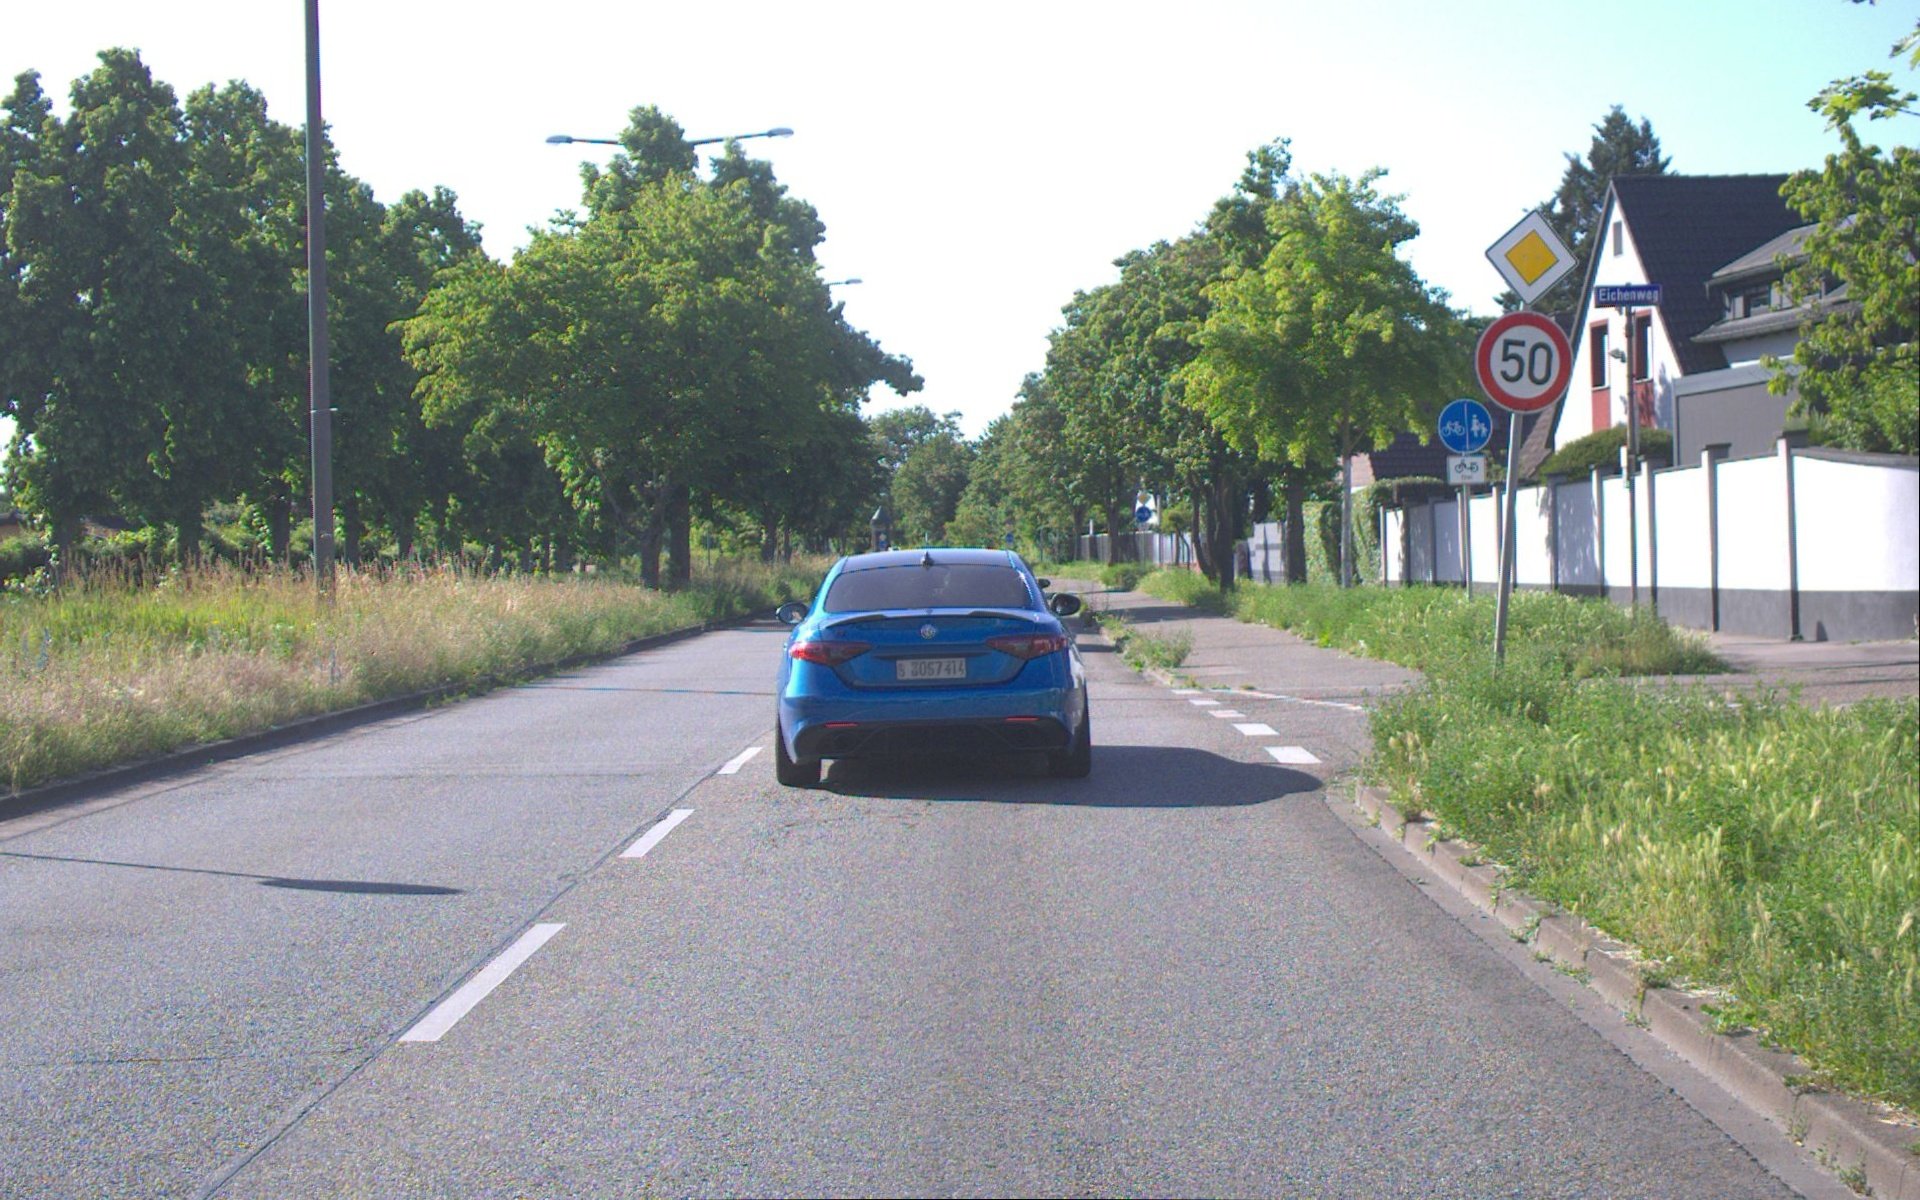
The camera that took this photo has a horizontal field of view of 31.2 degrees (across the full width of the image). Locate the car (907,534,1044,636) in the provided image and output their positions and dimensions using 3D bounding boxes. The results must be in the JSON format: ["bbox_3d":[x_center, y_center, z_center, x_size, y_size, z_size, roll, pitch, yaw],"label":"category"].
[{"bbox_3d":[0.208,-0.268,54.737,1.915,1.574,4.183,0,1,-4],"label":"car"}]

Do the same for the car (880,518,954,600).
[{"bbox_3d":[-1.065,-1.031,86.662,1.793,2.007,4.000,0,0,0],"label":"car"}]

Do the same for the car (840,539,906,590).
[{"bbox_3d":[-2.606,-1.079,102.956,1.915,1.507,4.068,0,1,-2],"label":"car"}]

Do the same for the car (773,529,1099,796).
[{"bbox_3d":[-0.172,0.318,21.893,1.838,1.469,4.185,-2,1,-1],"label":"car"}]
